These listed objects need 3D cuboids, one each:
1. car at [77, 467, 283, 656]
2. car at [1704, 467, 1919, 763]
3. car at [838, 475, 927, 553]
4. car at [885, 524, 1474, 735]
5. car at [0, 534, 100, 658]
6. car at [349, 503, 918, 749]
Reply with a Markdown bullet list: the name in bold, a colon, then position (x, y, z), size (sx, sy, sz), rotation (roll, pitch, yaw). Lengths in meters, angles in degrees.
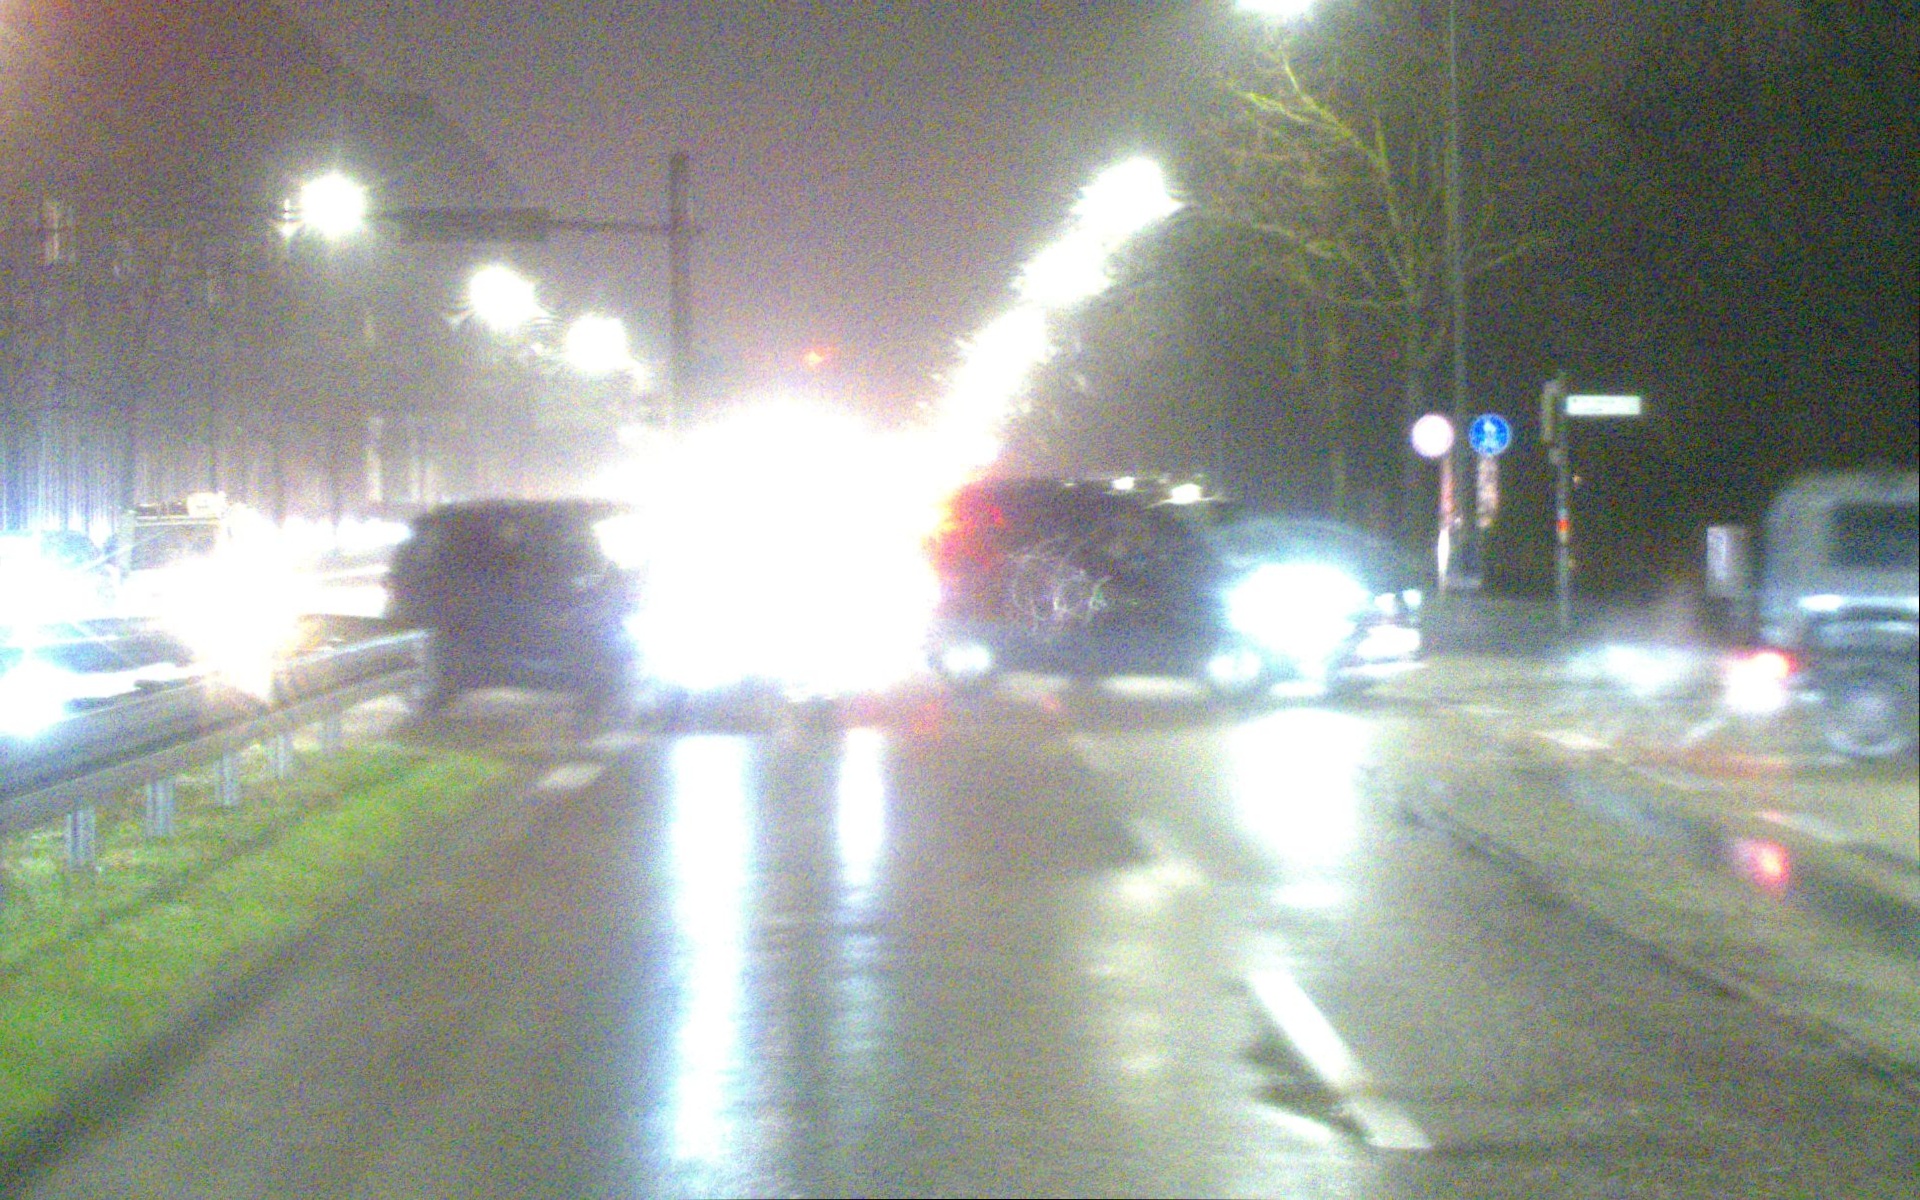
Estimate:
- **car**: position (-8.676, -0.423, 38.484), size (1.698, 2.007, 3.568), rotation (0, 0, -4)
- **car**: position (6.454, 0.089, 20.740), size (3.755, 1.728, 1.722), rotation (0, 0, 15)
- **car**: position (-2.321, -2.518, 101.750), size (2.441, 2.186, 5.079), rotation (0, 0, -3)
- **car**: position (1.762, 0.203, 28.292), size (4.508, 1.612, 1.904), rotation (1, 0, 35)
- **car**: position (-12.067, -0.064, 43.482), size (1.698, 1.511, 3.568), rotation (0, 0, -4)
- **car**: position (-2.507, 0.156, 25.546), size (1.953, 1.667, 4.415), rotation (0, 0, -42)
